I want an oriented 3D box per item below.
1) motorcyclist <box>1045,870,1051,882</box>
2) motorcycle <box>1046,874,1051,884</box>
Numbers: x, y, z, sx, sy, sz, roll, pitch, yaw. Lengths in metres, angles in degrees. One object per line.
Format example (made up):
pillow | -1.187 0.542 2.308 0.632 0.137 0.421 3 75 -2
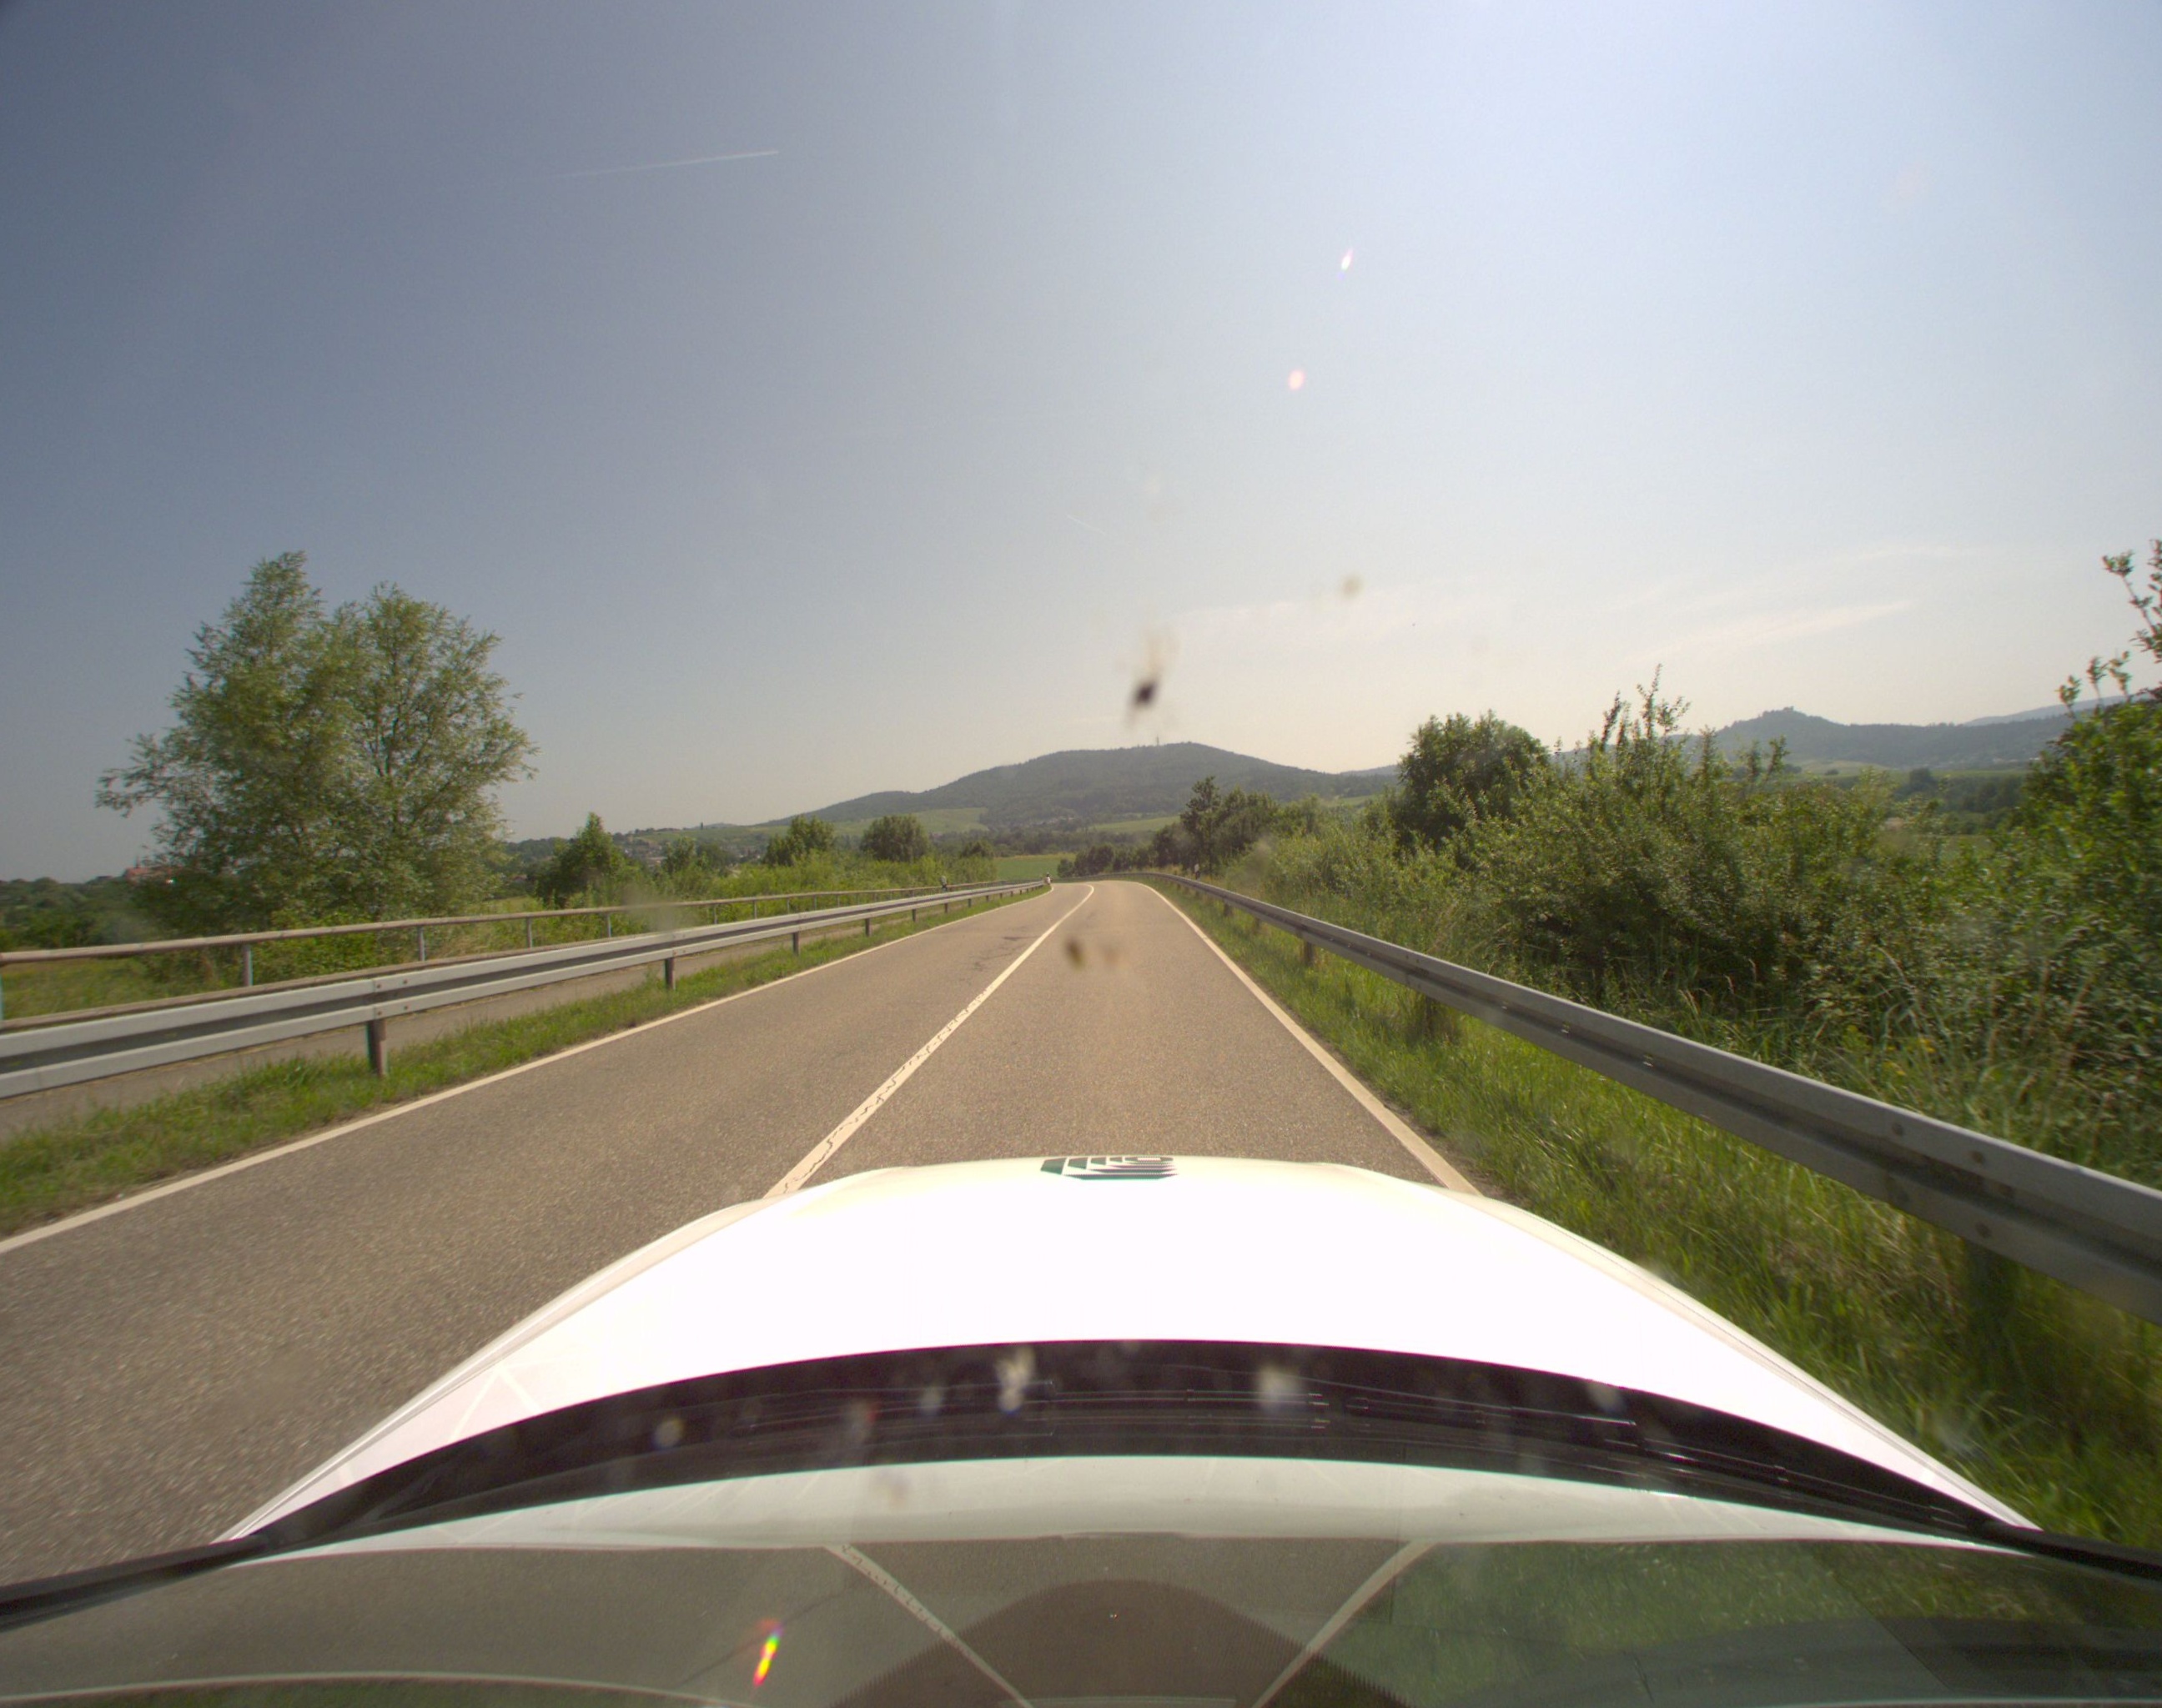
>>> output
motorcyclist | -4.296 2.889 106.881 0.653 1.562 0.774 -6 -1 -4
motorcycle | -4.265 3.285 106.854 0.641 1.223 1.636 -6 -1 -3
